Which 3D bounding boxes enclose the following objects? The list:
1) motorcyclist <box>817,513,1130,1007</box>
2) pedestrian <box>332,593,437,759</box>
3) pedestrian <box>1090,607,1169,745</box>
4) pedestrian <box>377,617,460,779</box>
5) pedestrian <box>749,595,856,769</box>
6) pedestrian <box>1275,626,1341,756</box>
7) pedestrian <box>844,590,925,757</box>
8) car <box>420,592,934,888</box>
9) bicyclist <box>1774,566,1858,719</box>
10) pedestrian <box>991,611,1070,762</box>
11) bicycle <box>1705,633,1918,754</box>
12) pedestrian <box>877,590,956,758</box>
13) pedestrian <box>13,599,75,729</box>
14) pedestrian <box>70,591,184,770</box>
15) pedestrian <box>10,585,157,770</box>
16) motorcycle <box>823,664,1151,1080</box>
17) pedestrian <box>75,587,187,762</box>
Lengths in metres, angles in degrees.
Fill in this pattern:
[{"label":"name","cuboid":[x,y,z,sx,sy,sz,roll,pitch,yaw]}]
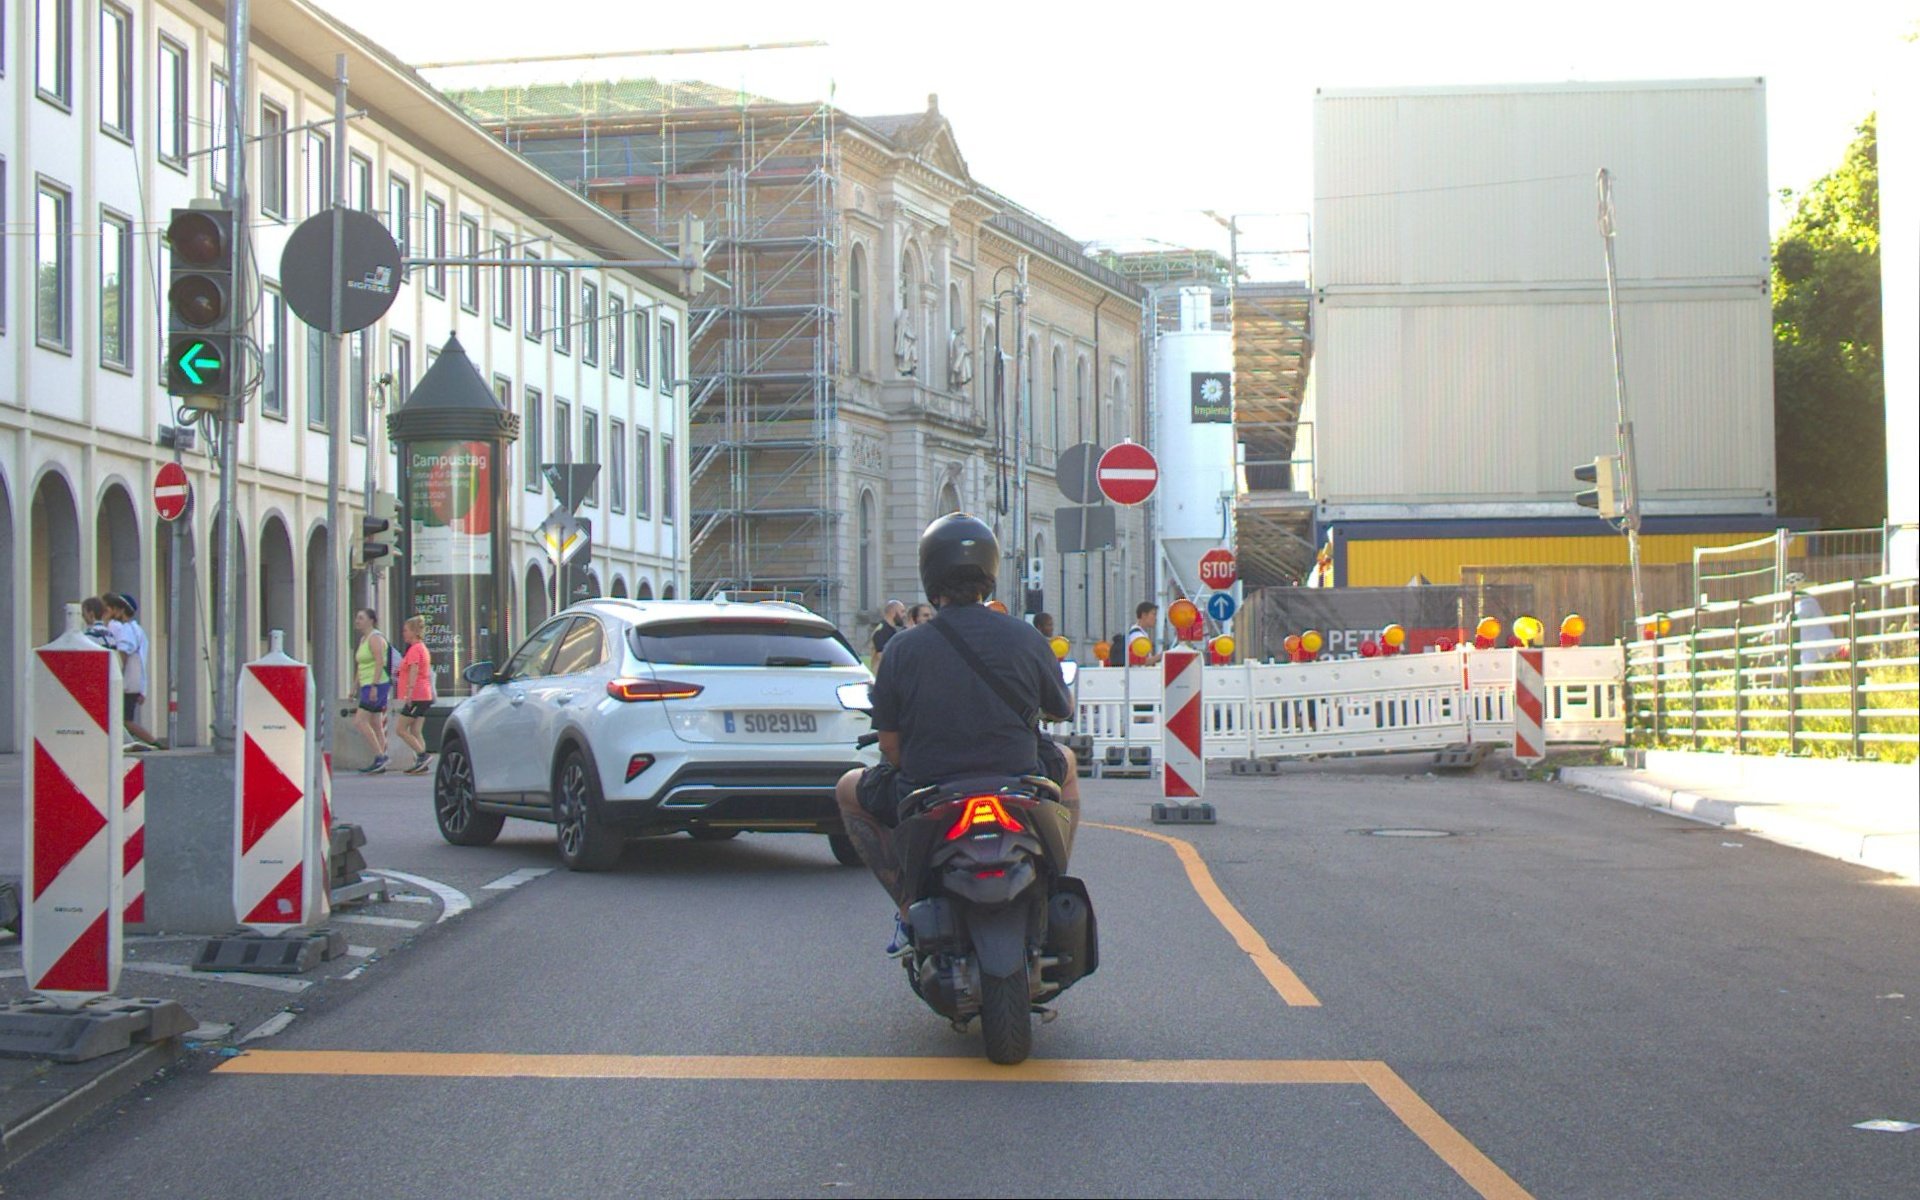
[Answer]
[{"label":"motorcyclist","cuboid":[0.018,0.501,11.483,0.954,1.554,1.239,0,0,-4]},{"label":"pedestrian","cuboid":[-6.005,0.787,35.926,0.965,1.704,0.675,0,1,2]},{"label":"pedestrian","cuboid":[1.837,0.818,37.169,0.768,1.457,0.665,-2,-1,6]},{"label":"pedestrian","cuboid":[-5.517,0.995,35.026,0.725,1.619,0.620,0,1,2]},{"label":"pedestrian","cuboid":[-1.596,0.834,34.993,0.974,1.723,0.798,-2,-2,2]},{"label":"pedestrian","cuboid":[3.539,0.924,34.995,0.618,1.295,0.493,2,-1,5]},{"label":"pedestrian","cuboid":[-0.790,0.770,36.123,0.737,1.710,0.621,-2,-1,6]},{"label":"car","cuboid":[-1.750,0.728,19.885,1.858,1.467,4.001,1,1,-22]},{"label":"bicyclist","cuboid":[8.499,0.427,34.151,0.702,1.511,0.686,0,-2,5]},{"label":"pedestrian","cuboid":[0.771,0.938,37.473,0.768,1.613,0.665,-2,-1,6]},{"label":"bicycle","cuboid":[8.451,0.928,34.150,1.993,1.197,0.477,0,-2,5]},{"label":"pedestrian","cuboid":[-0.464,0.792,36.921,0.737,1.765,0.621,-2,-1,6]},{"label":"pedestrian","cuboid":[-13.214,0.920,49.620,0.640,1.834,0.727,0,1,6]},{"label":"pedestrian","cuboid":[-8.459,0.809,34.928,0.938,1.771,0.711,-1,1,2]},{"label":"pedestrian","cuboid":[-8.708,0.762,34.180,1.243,1.795,0.716,-1,1,2]},{"label":"motorcycle","cuboid":[0.030,0.834,11.534,0.905,1.179,2.579,0,0,-4]},{"label":"pedestrian","cuboid":[-8.554,0.759,35.515,0.938,1.771,0.711,-1,1,2]}]
